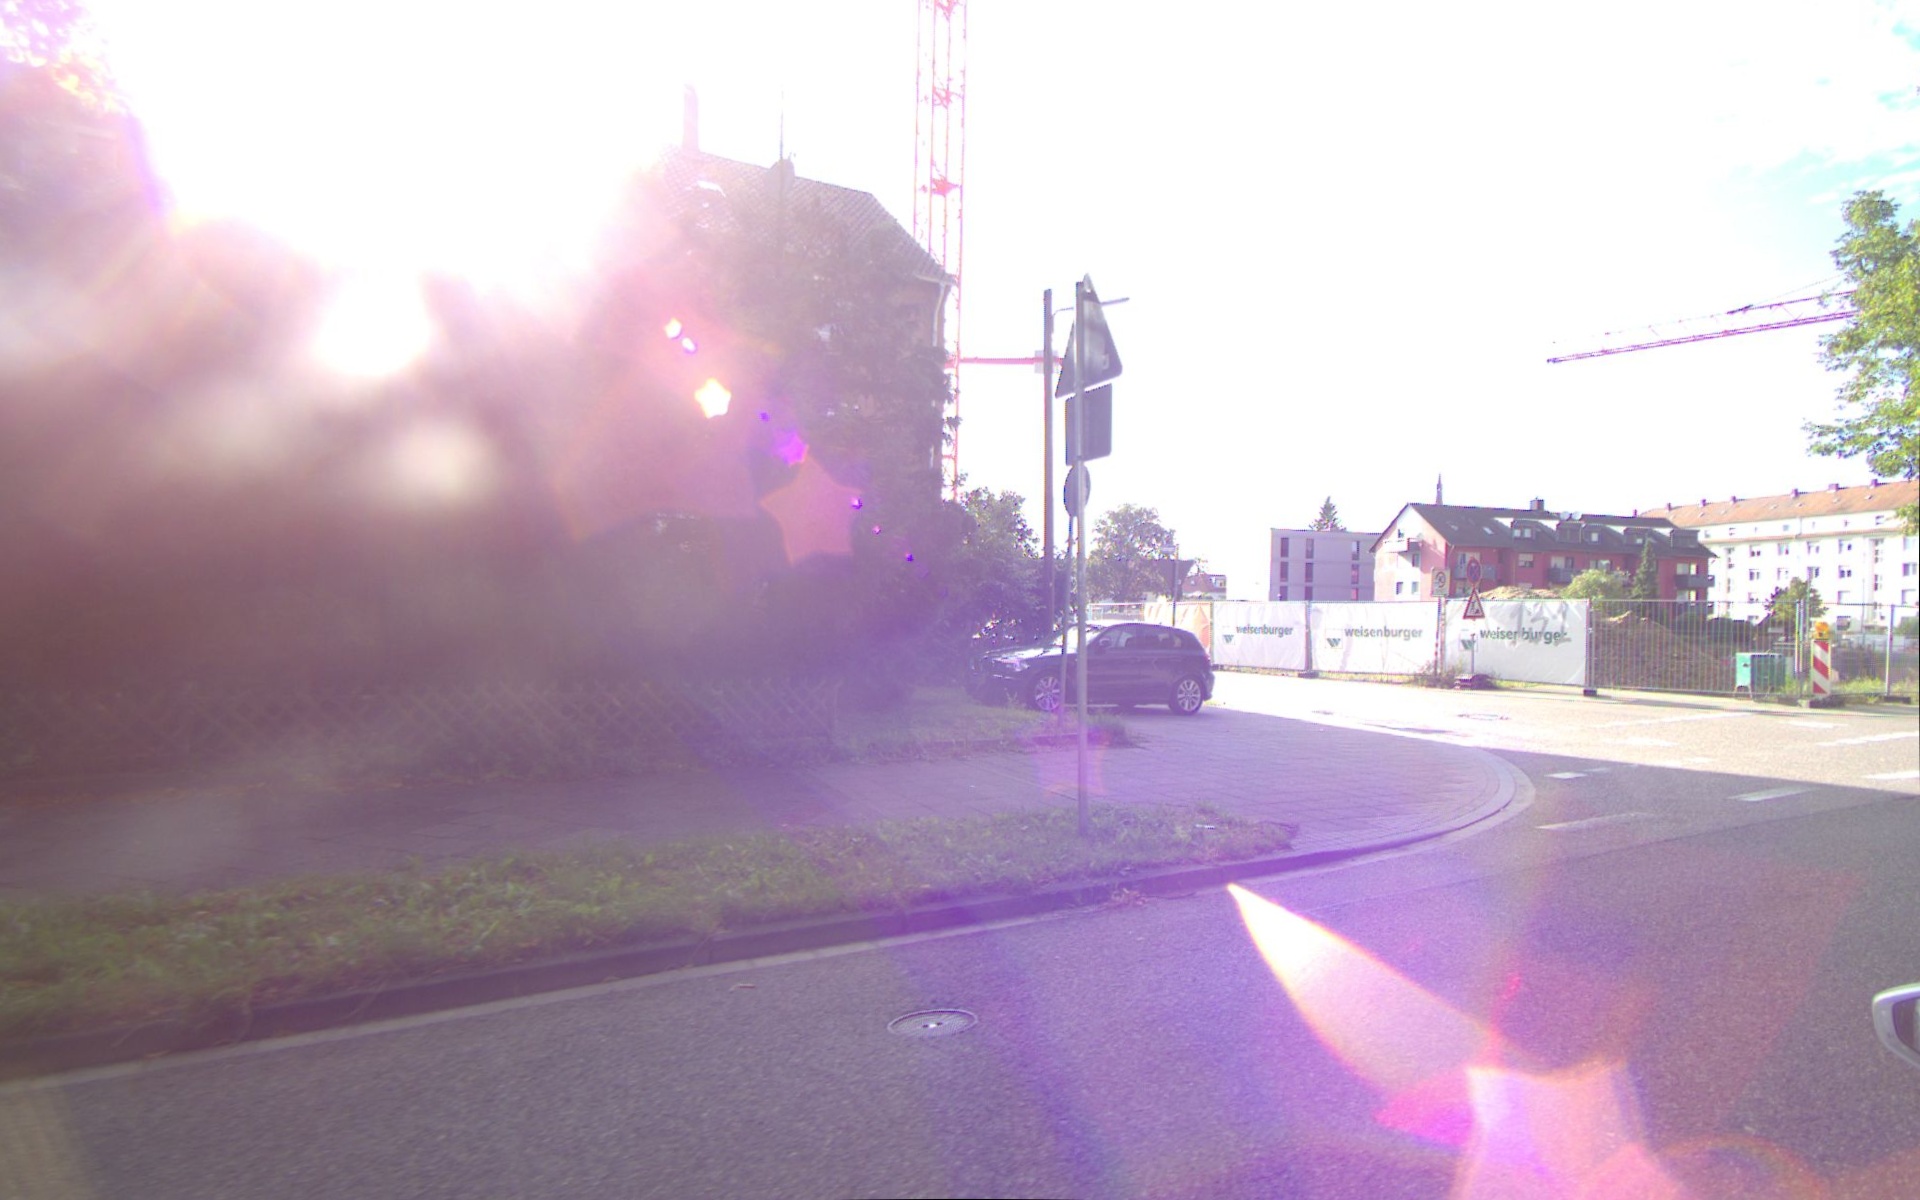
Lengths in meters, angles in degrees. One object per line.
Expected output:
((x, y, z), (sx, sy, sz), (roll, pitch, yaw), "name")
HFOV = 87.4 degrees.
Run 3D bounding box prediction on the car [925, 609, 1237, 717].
((1.904, 0.972, 15.608), (4.451, 1.447, 1.986), (3, -1, -28), "car")
